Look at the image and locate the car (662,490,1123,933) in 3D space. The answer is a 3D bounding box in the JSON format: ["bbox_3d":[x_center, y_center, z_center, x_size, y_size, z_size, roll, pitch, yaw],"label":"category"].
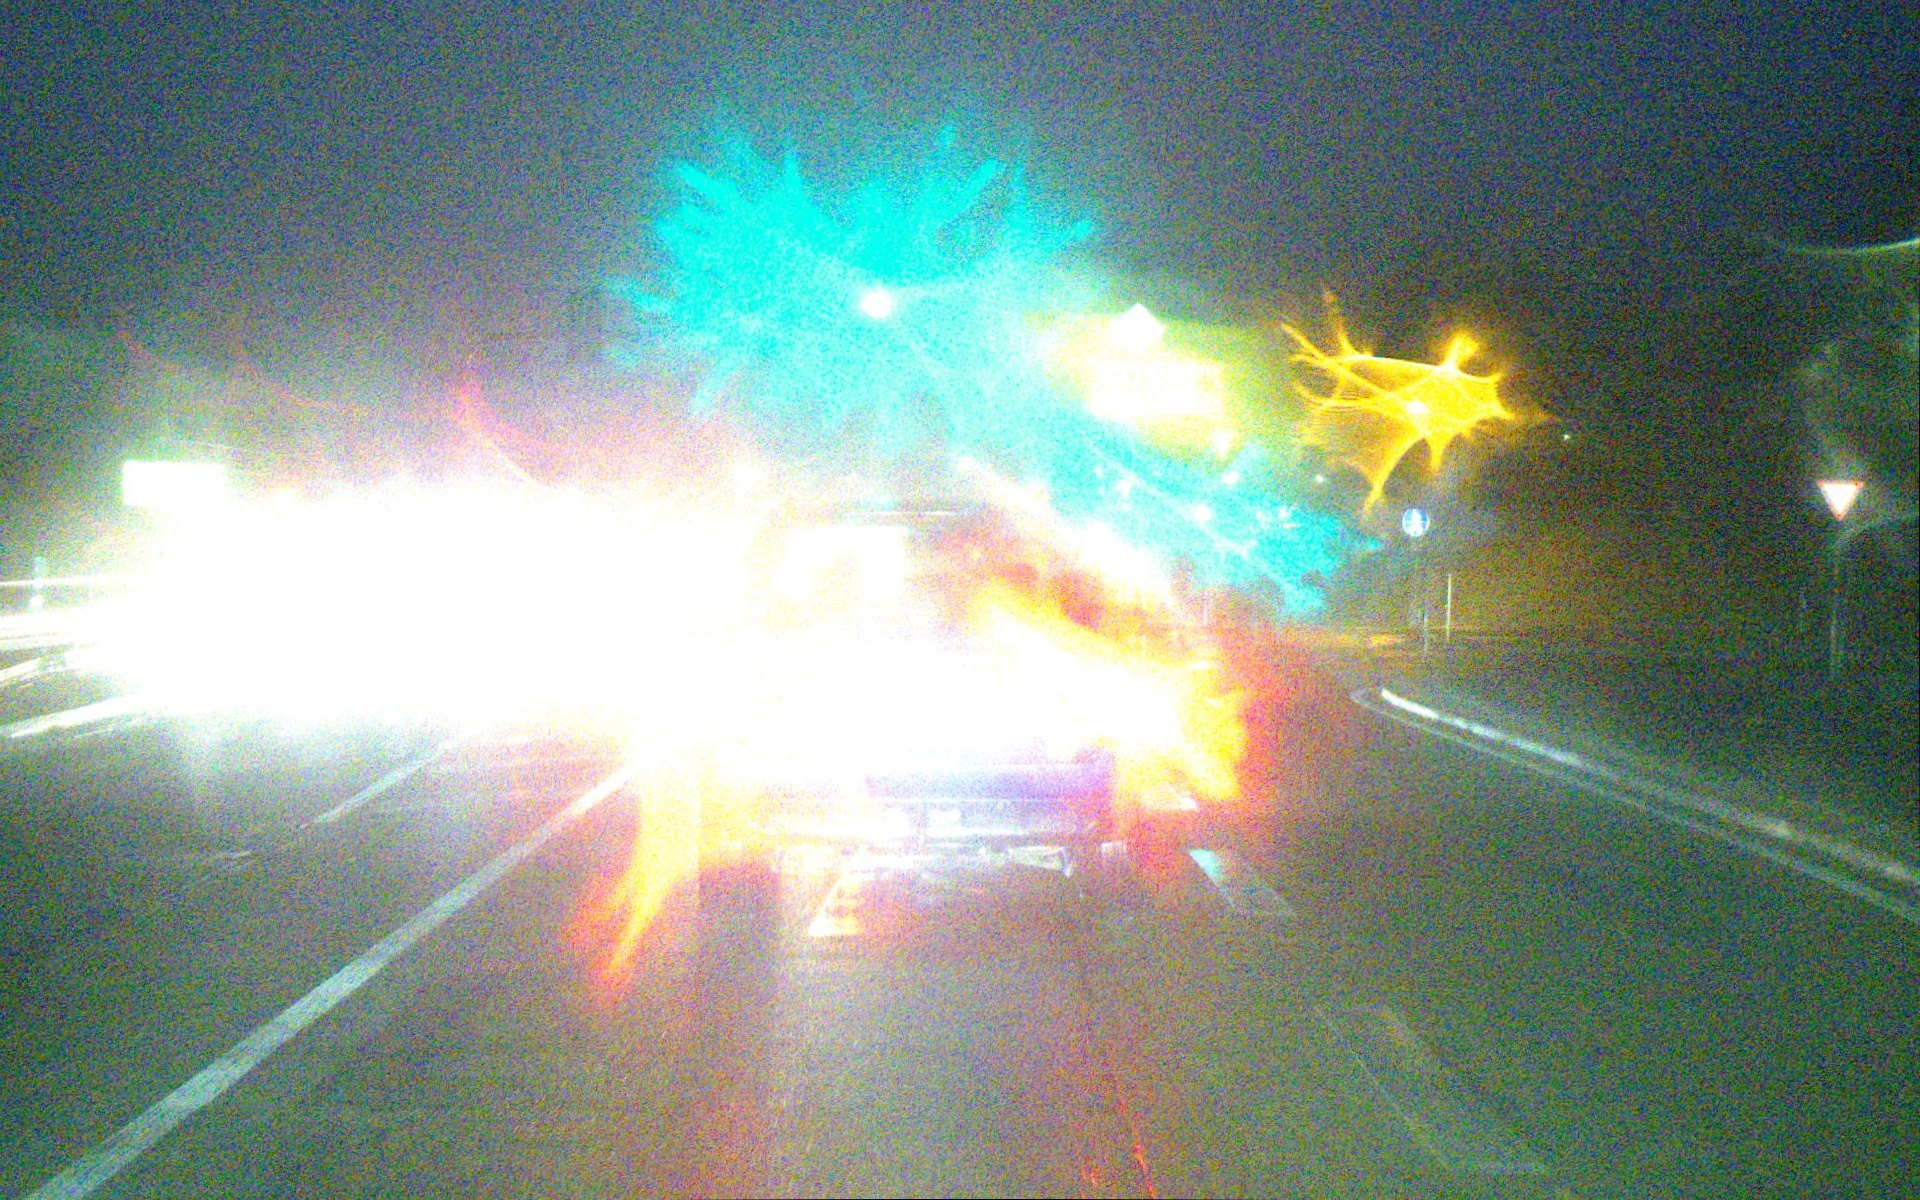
[{"bbox_3d":[-0.325,0.414,15.336,1.775,1.706,4.000,0,1,-2],"label":"car"}]

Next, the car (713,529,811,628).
[{"bbox_3d":[-4.326,-0.444,74.728,1.993,2.007,4.000,-1,-1,-5],"label":"car"}]
